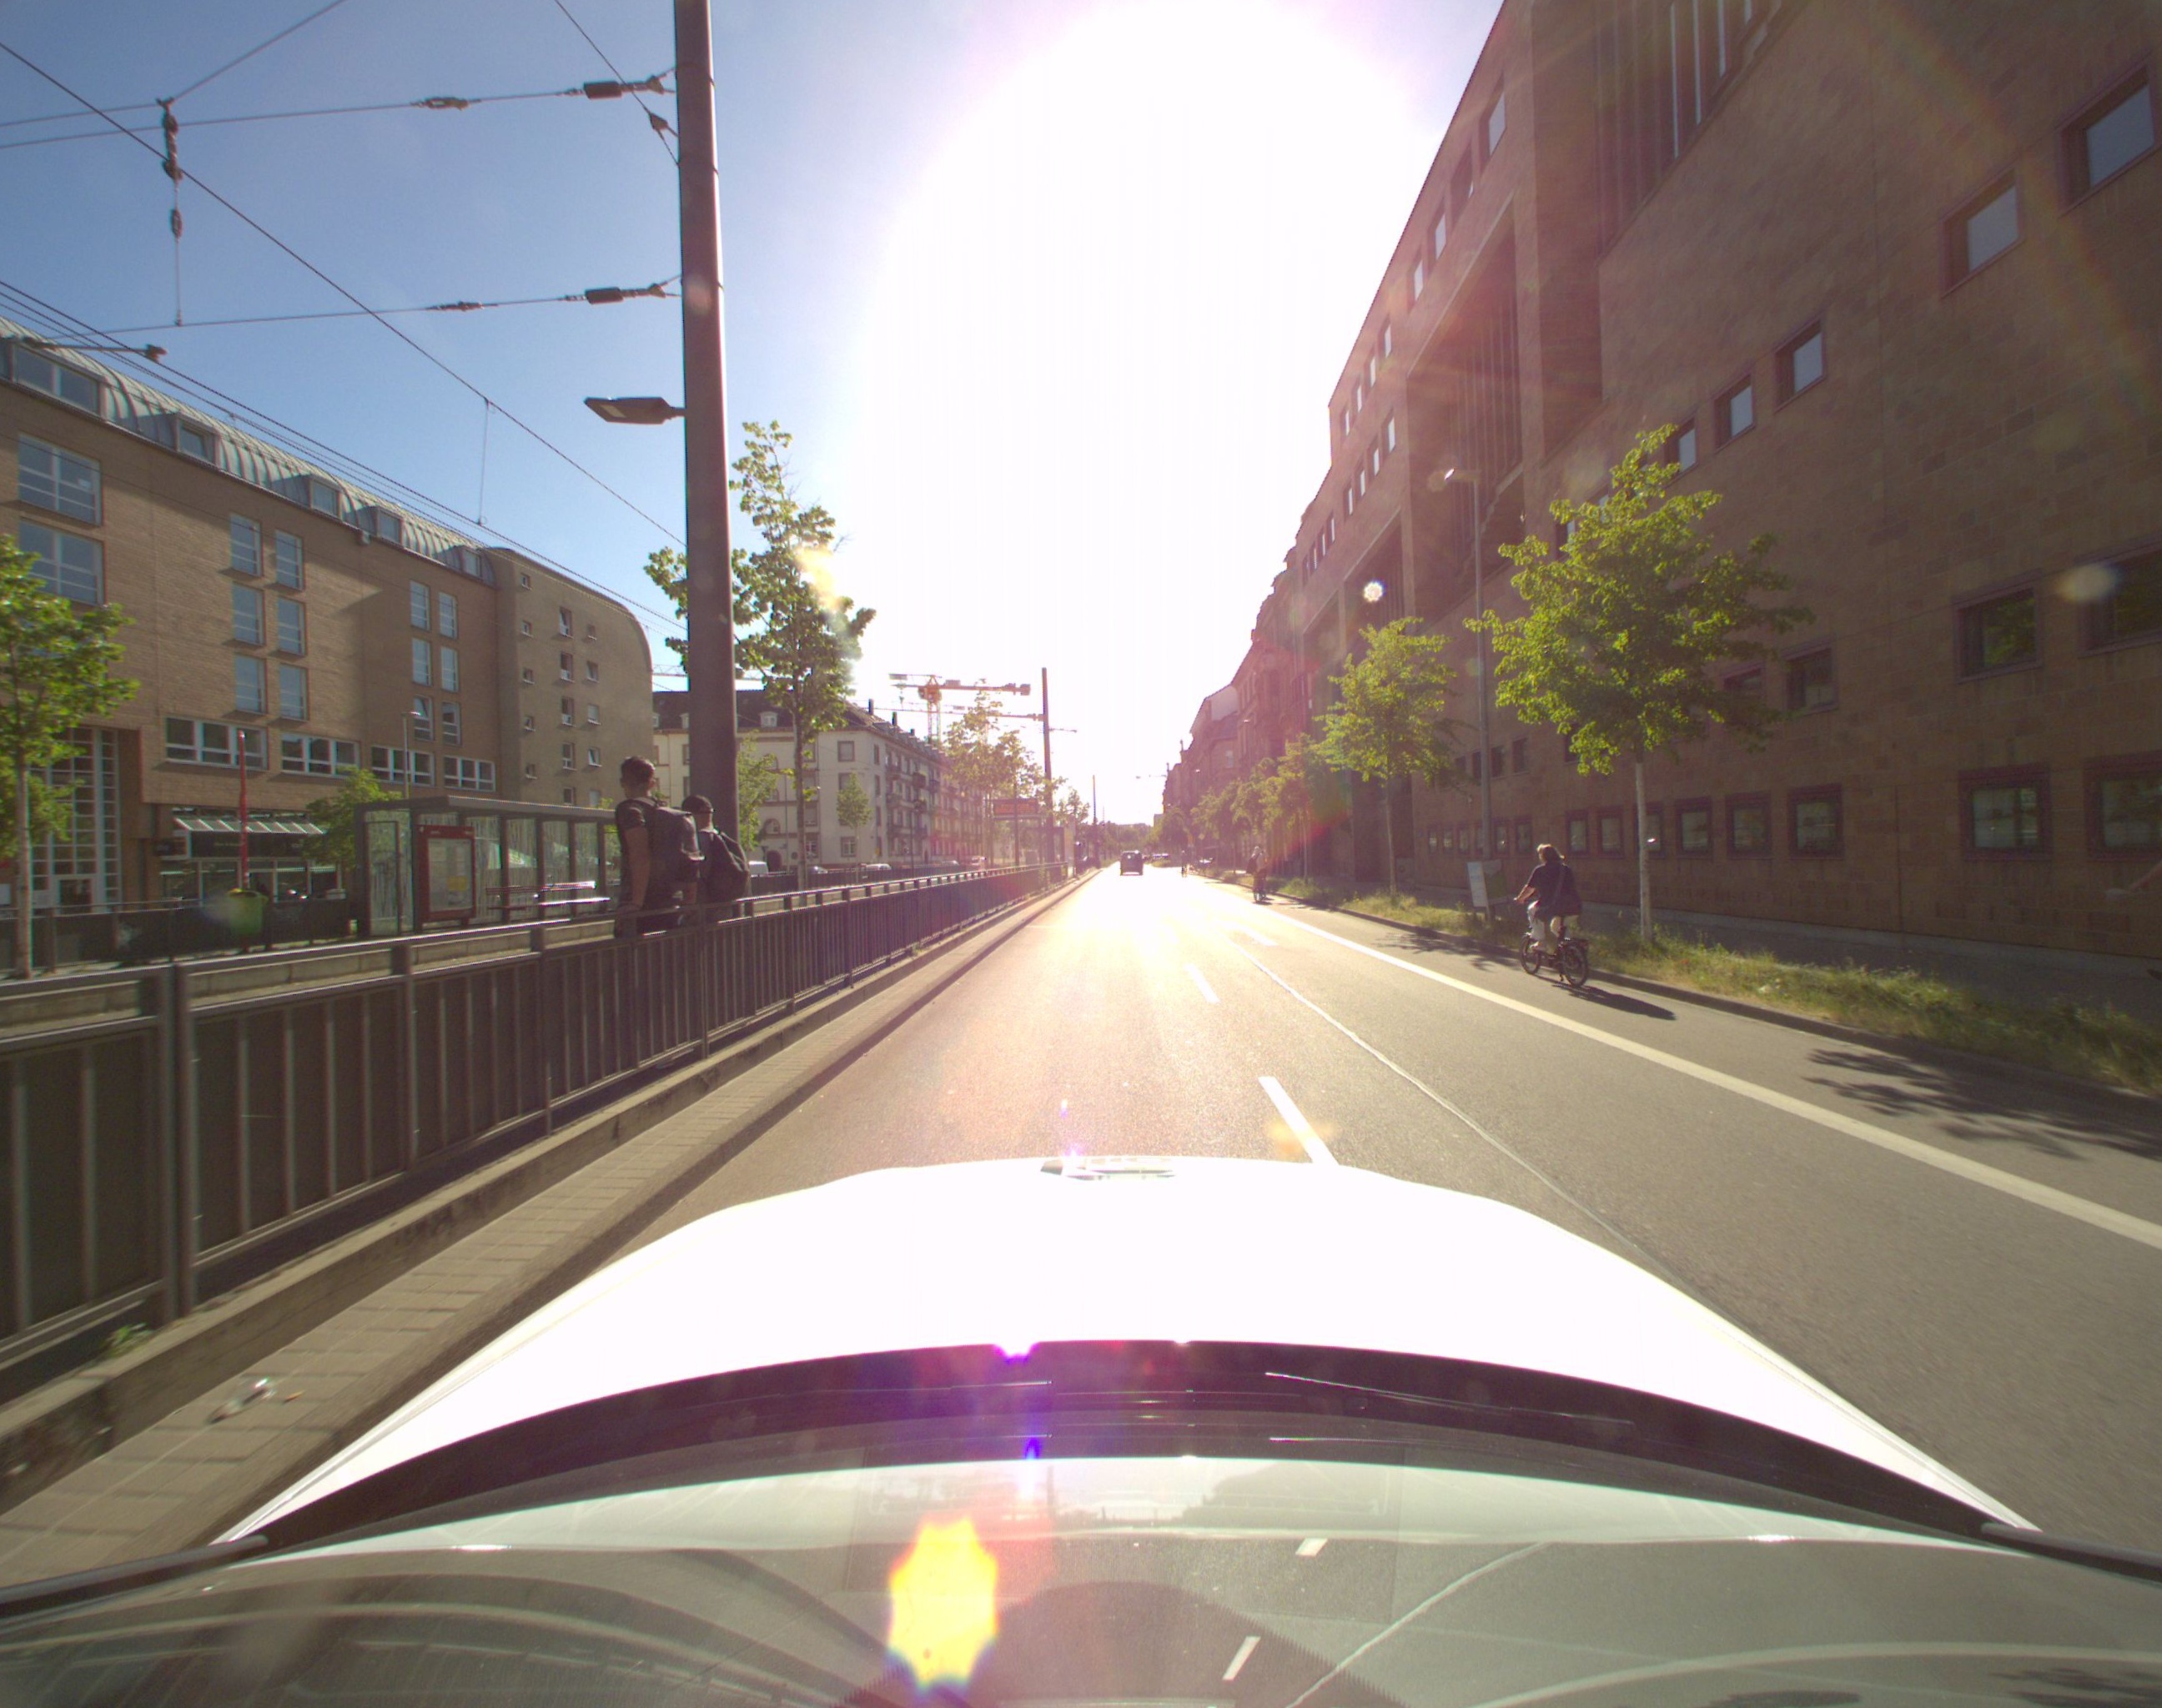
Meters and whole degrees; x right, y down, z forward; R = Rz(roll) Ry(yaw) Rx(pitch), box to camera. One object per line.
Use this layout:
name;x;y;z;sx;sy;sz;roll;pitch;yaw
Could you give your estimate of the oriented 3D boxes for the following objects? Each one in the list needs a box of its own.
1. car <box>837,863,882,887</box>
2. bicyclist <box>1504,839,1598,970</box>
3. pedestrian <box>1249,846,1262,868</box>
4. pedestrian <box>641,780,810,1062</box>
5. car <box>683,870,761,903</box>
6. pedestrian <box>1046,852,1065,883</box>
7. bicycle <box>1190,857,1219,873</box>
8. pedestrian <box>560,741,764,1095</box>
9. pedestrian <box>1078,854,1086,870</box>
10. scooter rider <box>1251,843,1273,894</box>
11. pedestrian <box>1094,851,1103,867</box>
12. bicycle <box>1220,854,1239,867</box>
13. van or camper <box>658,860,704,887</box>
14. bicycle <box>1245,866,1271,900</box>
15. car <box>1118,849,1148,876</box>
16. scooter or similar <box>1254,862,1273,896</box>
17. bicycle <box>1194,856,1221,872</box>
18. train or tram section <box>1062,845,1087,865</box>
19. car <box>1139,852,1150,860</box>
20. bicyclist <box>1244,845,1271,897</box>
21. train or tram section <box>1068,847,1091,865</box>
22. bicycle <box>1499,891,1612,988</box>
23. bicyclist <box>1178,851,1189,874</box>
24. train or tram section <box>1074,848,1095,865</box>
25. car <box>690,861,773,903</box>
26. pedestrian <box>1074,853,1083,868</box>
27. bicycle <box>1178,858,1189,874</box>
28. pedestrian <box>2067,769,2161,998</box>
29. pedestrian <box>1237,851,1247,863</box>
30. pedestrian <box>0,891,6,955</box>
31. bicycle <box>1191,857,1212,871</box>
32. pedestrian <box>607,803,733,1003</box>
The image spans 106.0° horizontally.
car;-16.250;1.514;59.966;1.985;1.684;4.003;-1;-1;3
bicyclist;5.745;0.589;10.010;0.655;1.537;0.910;0;0;2
pedestrian;12.475;0.217;58.229;0.706;1.542;0.928;-2;-1;2
pedestrian;-2.359;0.424;5.483;0.743;1.748;0.716;-2;-1;2
car;-17.196;1.525;39.206;1.871;1.464;4.002;-1;-1;2
pedestrian;-1.277;0.670;41.110;0.809;1.536;0.799;-2;0;4
bicycle;9.597;0.837;63.419;1.993;1.092;0.845;-4;0;-7
pedestrian;-2.410;0.347;4.763;0.743;1.884;0.716;-2;-1;2
pedestrian;0.098;0.818;83.205;0.809;1.536;0.799;-1;0;4
scooter rider;6.679;0.513;30.094;0.663;1.860;0.901;0;0;2
pedestrian;1.877;0.538;88.808;0.863;1.788;0.970;-1;0;-4
bicycle;14.929;0.647;81.832;1.808;1.171;0.655;-2;3;6
van or camper;-36.953;1.760;75.463;1.992;2.401;5.939;-2;0;-8
bicycle;5.903;0.949;27.261;0.555;1.092;1.793;0;0;2
car;4.005;0.668;63.357;2.191;1.926;4.657;-2;0;3
scooter or similar;6.742;0.909;30.111;0.489;1.227;1.171;0;0;2
bicycle;10.063;0.791;64.774;1.986;1.128;0.710;-4;0;4
train or tram section;-0.860;0.233;115.675;2.743;2.743;9.874;-1;-1;4
car;11.810;0.403;151.544;2.020;1.499;4.657;-2;0;3
bicyclist;5.923;0.562;27.364;0.776;1.711;0.869;0;0;2
train or tram section;-0.182;0.359;125.509;2.743;2.743;9.874;-1;-1;4
bicycle;5.752;0.996;9.957;0.555;1.027;1.508;0;0;2
bicyclist;7.457;0.617;59.351;0.681;1.673;0.922;0;0;2
train or tram section;0.584;0.485;135.351;2.743;2.743;9.874;-1;-1;4
car;-22.070;1.714;51.722;1.981;2.370;5.662;-2;0;11
pedestrian;-0.291;0.663;84.294;0.861;1.536;0.910;-1;0;3
bicycle;7.455;0.855;59.303;0.599;1.181;1.870;0;0;2
pedestrian;9.234;0.231;6.721;0.785;1.883;1.107;-2;-1;2
pedestrian;16.434;0.346;83.111;0.848;1.214;0.933;-1;0;-4
pedestrian;-31.565;2.018;23.333;0.618;1.840;0.645;-2;0;1
bicycle;9.797;0.805;66.099;1.592;1.045;0.608;-4;0;6
pedestrian;-3.752;0.430;7.486;0.706;1.723;0.752;-2;-1;1
